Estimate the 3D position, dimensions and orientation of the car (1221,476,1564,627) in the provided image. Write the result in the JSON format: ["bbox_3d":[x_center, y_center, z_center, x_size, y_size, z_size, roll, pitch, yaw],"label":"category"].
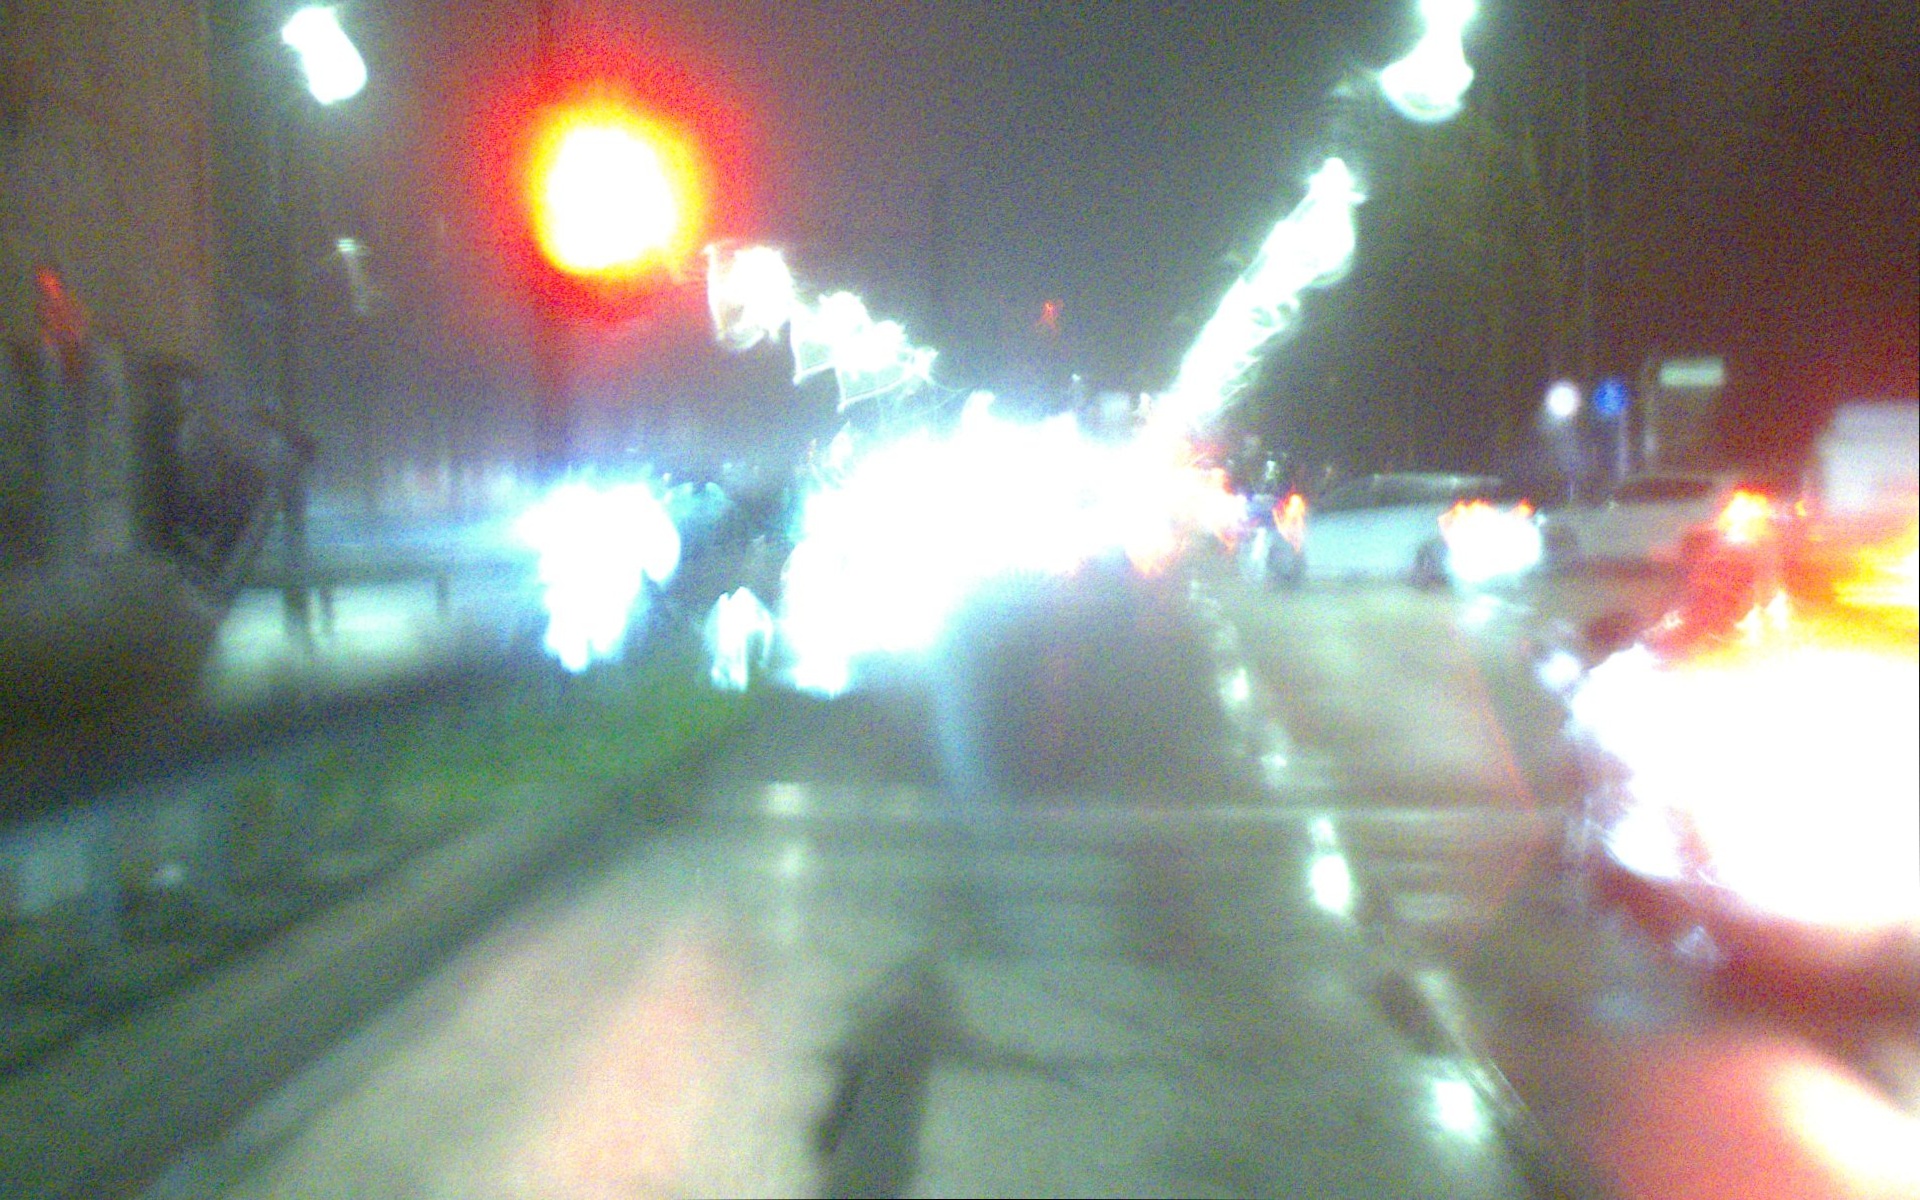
[{"bbox_3d":[5.966,-0.687,47.705,4.303,2.007,2.040,1,1,41],"label":"car"}]

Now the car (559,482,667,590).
[{"bbox_3d":[-5.751,-1.061,57.053,1.717,1.728,3.766,0,1,-6],"label":"car"}]

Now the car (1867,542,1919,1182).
[{"bbox_3d":[2.970,0.625,6.159,1.720,1.441,4.162,0,1,2],"label":"car"}]

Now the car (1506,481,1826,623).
[{"bbox_3d":[10.389,-0.719,50.853,2.039,2.007,4.305,0,1,-39],"label":"car"}]

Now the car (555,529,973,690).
[{"bbox_3d":[-2.170,0.060,37.425,4.424,1.644,1.833,1,1,38],"label":"car"}]

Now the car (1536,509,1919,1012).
[{"bbox_3d":[3.199,0.407,12.100,1.720,1.441,4.383,-1,1,2],"label":"car"}]

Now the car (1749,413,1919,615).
[{"bbox_3d":[9.599,-0.752,30.554,4.828,1.763,1.835,1,1,21],"label":"car"}]

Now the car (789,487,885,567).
[{"bbox_3d":[-2.590,-1.513,71.502,1.901,1.612,4.515,0,1,-3],"label":"car"}]

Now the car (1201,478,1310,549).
[{"bbox_3d":[6.607,-1.917,77.248,2.091,1.540,4.307,0,1,0],"label":"car"}]

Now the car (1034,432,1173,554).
[{"bbox_3d":[2.657,-1.984,64.844,2.441,2.186,5.079,0,1,0],"label":"car"}]
